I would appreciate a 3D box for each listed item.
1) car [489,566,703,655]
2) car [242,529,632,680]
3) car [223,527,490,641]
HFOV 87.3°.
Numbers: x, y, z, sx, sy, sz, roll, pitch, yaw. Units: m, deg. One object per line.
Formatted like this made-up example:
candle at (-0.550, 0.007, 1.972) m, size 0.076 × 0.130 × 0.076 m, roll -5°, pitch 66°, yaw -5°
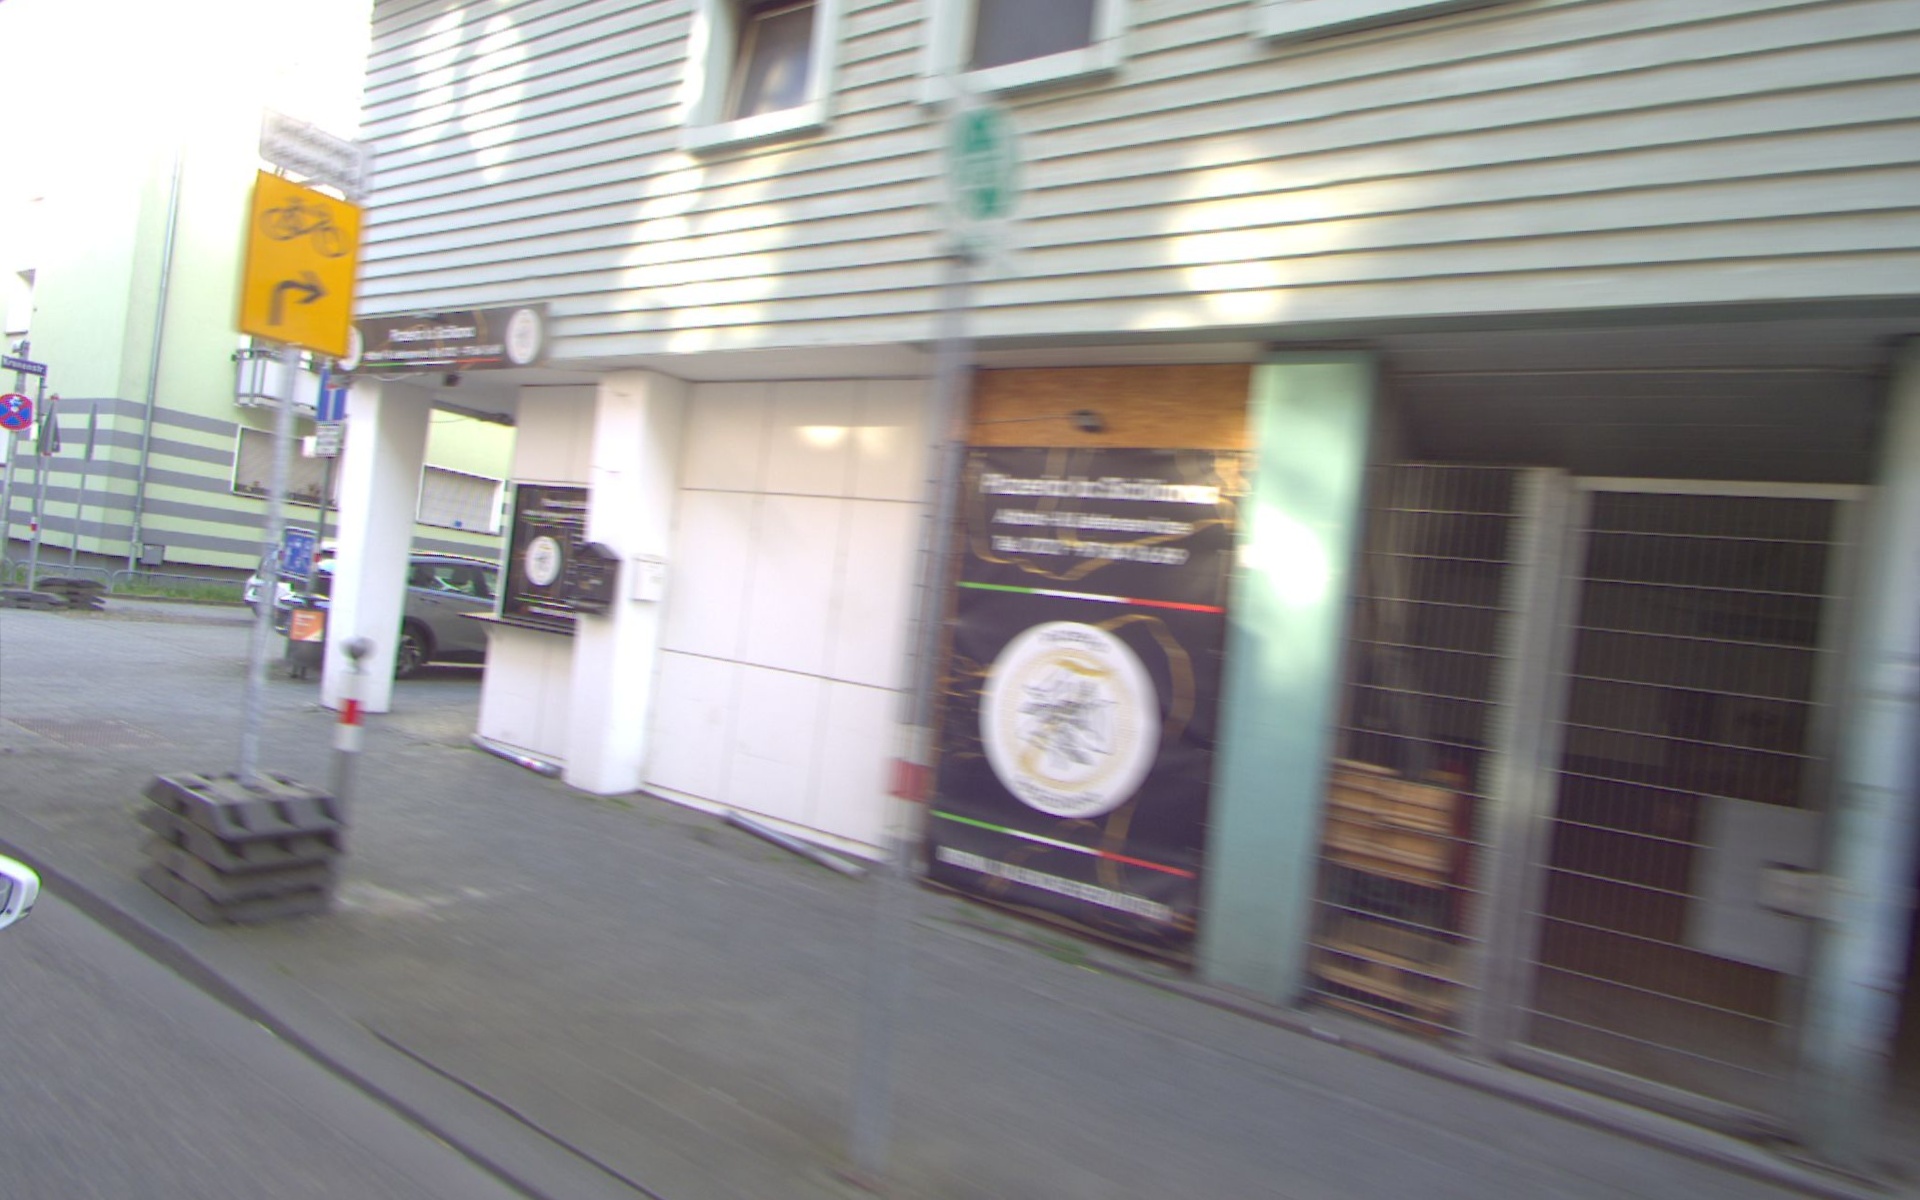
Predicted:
car at (-7.864, 0.296, 22.153) m, size 1.680 × 1.499 × 4.218 m, roll 6°, pitch -1°, yaw 31°
car at (-6.587, 0.159, 13.154) m, size 1.834 × 1.499 × 4.086 m, roll 6°, pitch -1°, yaw 30°
car at (-10.491, -0.215, 17.723) m, size 1.680 × 1.499 × 3.552 m, roll 6°, pitch -2°, yaw 31°
